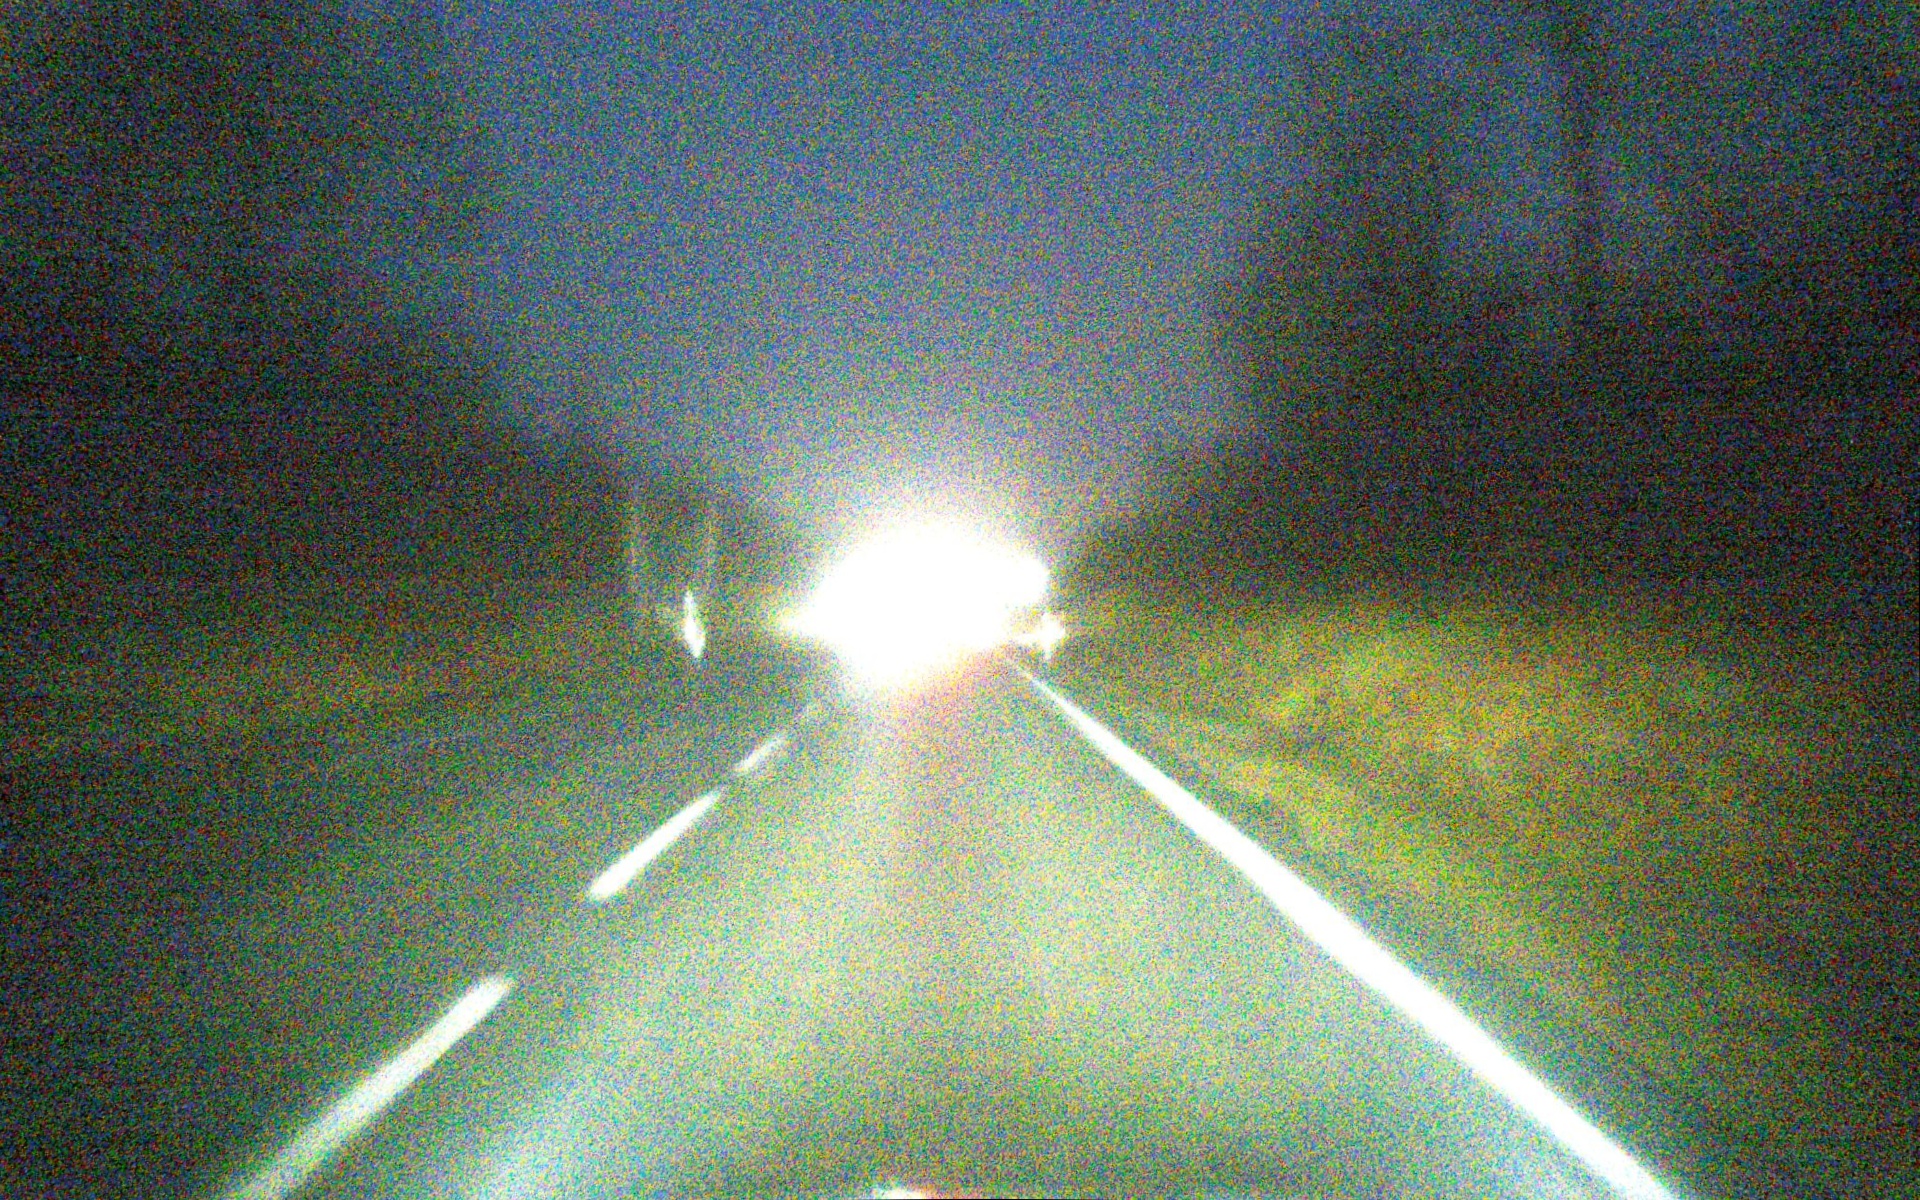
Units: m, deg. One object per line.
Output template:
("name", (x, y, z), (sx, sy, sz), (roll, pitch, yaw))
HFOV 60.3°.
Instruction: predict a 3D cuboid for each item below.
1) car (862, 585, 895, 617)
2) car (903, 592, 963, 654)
("car", (-5.361, 0.076, 109.361), (1.953, 2.049, 3.999), (1, 0, 0))
("car", (-0.893, 0.703, 53.188), (1.805, 1.770, 3.999), (2, 1, -2))
